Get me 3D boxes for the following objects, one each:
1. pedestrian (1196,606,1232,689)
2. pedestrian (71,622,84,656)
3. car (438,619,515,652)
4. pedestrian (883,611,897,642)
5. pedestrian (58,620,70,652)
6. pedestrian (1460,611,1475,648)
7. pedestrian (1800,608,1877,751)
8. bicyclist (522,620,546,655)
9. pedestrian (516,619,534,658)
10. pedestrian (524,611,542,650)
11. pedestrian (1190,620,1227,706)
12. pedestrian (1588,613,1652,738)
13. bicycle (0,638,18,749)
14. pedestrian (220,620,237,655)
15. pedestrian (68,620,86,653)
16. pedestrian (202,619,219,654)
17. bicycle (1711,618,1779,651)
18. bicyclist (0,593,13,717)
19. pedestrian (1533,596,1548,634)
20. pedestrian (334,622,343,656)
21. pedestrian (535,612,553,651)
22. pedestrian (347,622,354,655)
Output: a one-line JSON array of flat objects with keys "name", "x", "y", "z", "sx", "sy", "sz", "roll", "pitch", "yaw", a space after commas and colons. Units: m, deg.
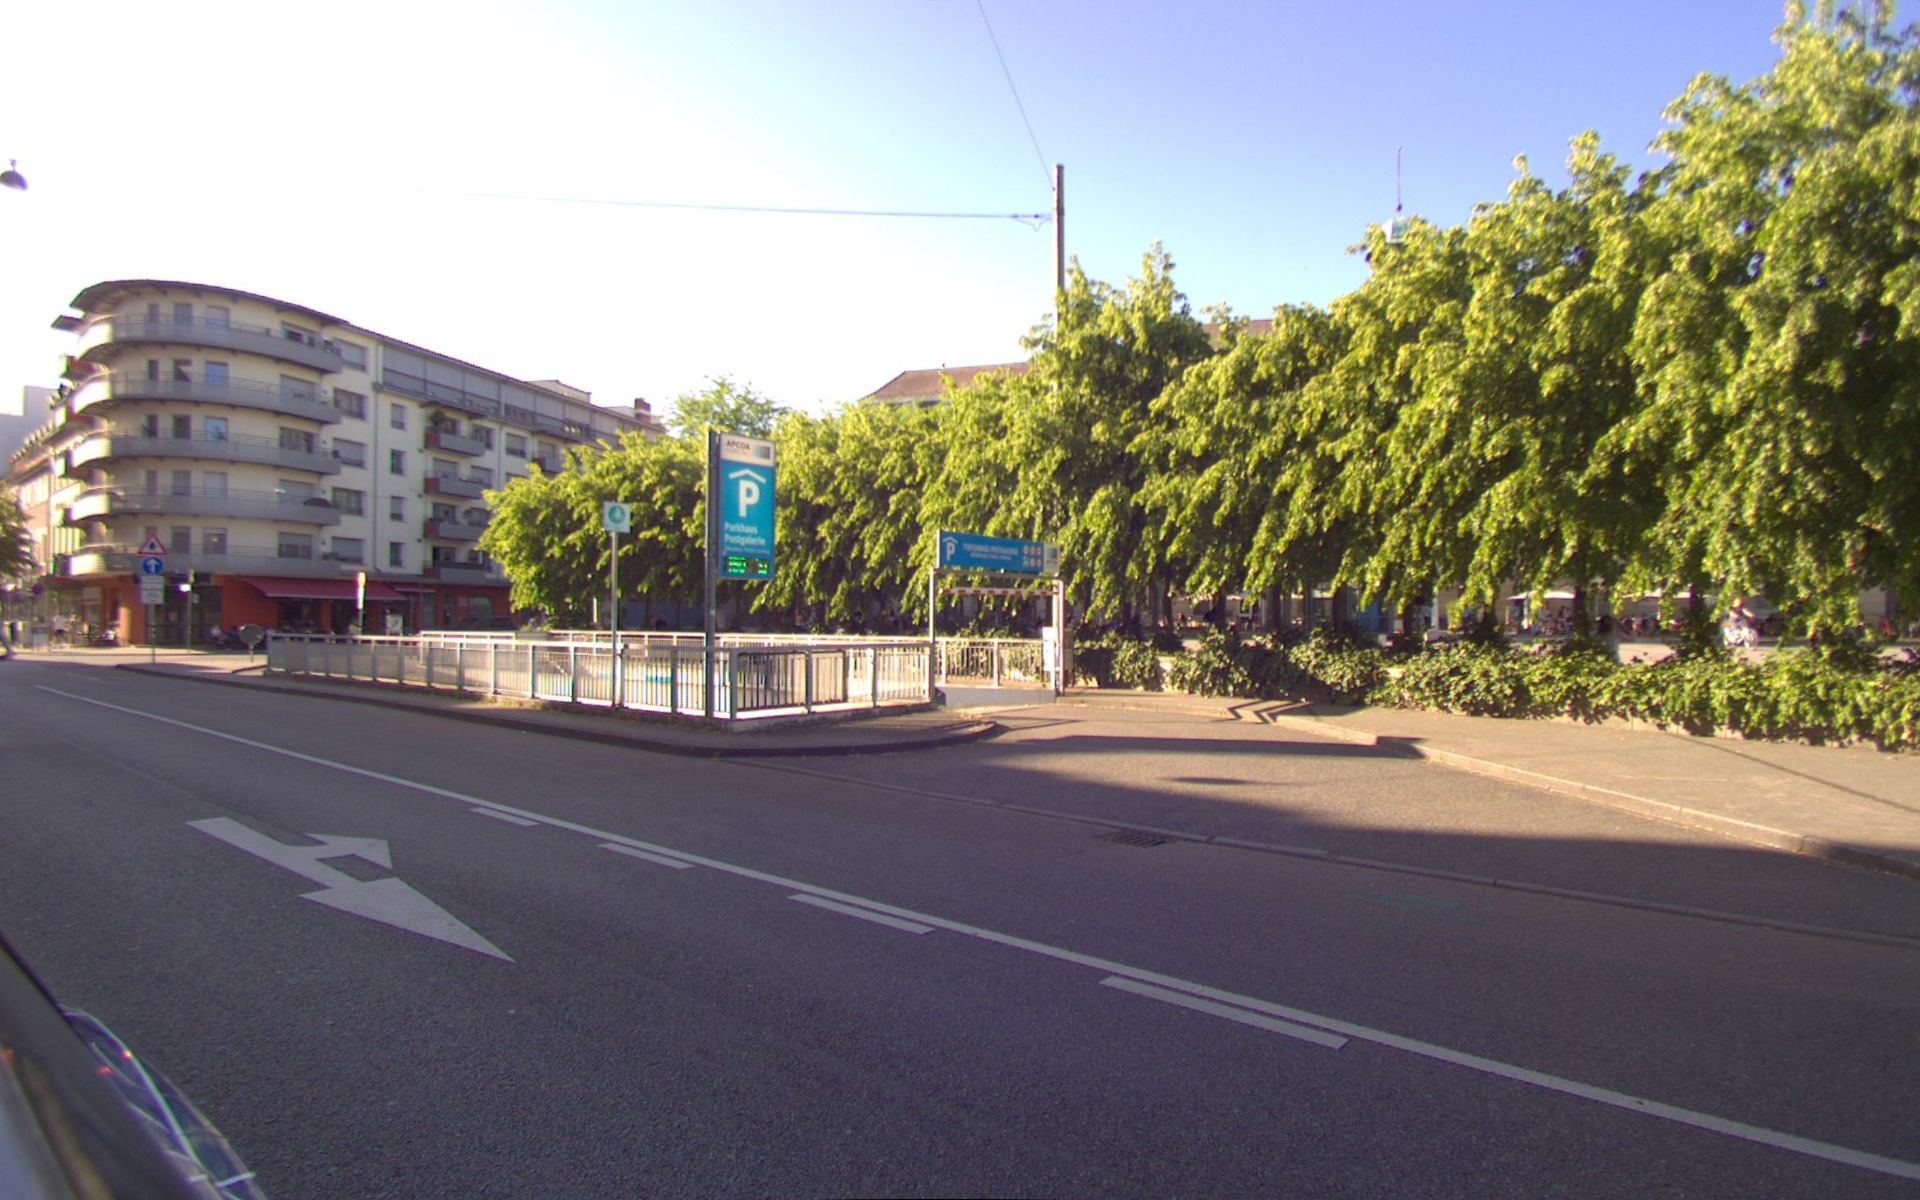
[{"name": "pedestrian", "x": 5.884, "y": 1.087, "z": 23.439, "sx": 0.674, "sy": 1.870, "sz": 0.577, "roll": -1, "pitch": -1, "yaw": 30}, {"name": "pedestrian", "x": -44.599, "y": 1.969, "z": 51.143, "sx": 0.515, "sy": 1.685, "sz": 0.437, "roll": -1, "pitch": -1, "yaw": 37}, {"name": "car", "x": -30.078, "y": 2.193, "z": 63.125, "sx": 1.938, "sy": 1.927, "sz": 4.403, "roll": -1, "pitch": -1, "yaw": 16}, {"name": "pedestrian", "x": -4.055, "y": 1.534, "z": 58.426, "sx": 0.578, "sy": 1.806, "sz": 0.597, "roll": -1, "pitch": 0, "yaw": 20}, {"name": "pedestrian", "x": -44.482, "y": 1.780, "z": 50.249, "sx": 0.515, "sy": 1.541, "sz": 0.371, "roll": -1, "pitch": -1, "yaw": 37}, {"name": "pedestrian", "x": 25.277, "y": 1.460, "z": 50.386, "sx": 0.599, "sy": 1.806, "sz": 0.576, "roll": -1, "pitch": -1, "yaw": 31}, {"name": "pedestrian", "x": 11.827, "y": 1.044, "z": 13.635, "sx": 0.597, "sy": 1.870, "sz": 0.578, "roll": -1, "pitch": 0, "yaw": 22}, {"name": "bicyclist", "x": -20.801, "y": 1.826, "z": 49.447, "sx": 0.960, "sy": 1.627, "sz": 0.715, "roll": 0, "pitch": 0, "yaw": -10}, {"name": "pedestrian", "x": -19.975, "y": 1.763, "z": 46.504, "sx": 0.574, "sy": 1.806, "sz": 0.602, "roll": -1, "pitch": 0, "yaw": -5}, {"name": "pedestrian", "x": -19.901, "y": 1.421, "z": 47.170, "sx": 0.574, "sy": 1.806, "sz": 0.602, "roll": -1, "pitch": 0, "yaw": -5}, {"name": "pedestrian", "x": 5.531, "y": 1.378, "z": 22.493, "sx": 0.600, "sy": 1.870, "sz": 0.575, "roll": -1, "pitch": -1, "yaw": 38}, {"name": "pedestrian", "x": 10.248, "y": 1.145, "z": 15.715, "sx": 0.732, "sy": 1.870, "sz": 0.574, "roll": -1, "pitch": -1, "yaw": 44}, {"name": "bicycle", "x": -11.725, "y": 1.080, "z": 11.892, "sx": 1.773, "sy": 1.242, "sz": 0.788, "roll": -1, "pitch": -1, "yaw": 41}, {"name": "pedestrian", "x": -36.610, "y": 1.890, "z": 50.661, "sx": 0.642, "sy": 1.721, "sz": 0.568, "roll": -2, "pitch": -2, "yaw": 43}, {"name": "pedestrian", "x": -44.152, "y": 1.825, "z": 50.601, "sx": 0.792, "sy": 1.634, "sz": 0.563, "roll": -1, "pitch": -1, "yaw": 37}, {"name": "pedestrian", "x": -37.421, "y": 1.804, "z": 50.506, "sx": 0.642, "sy": 1.721, "sz": 0.568, "roll": -2, "pitch": -2, "yaw": 43}, {"name": "bicycle", "x": 25.780, "y": 1.115, "z": 33.281, "sx": 0.496, "sy": 1.024, "sz": 2.061, "roll": -1, "pitch": 0, "yaw": -3}, {"name": "bicyclist", "x": -11.733, "y": 0.644, "z": 11.889, "sx": 1.007, "sy": 1.445, "sz": 0.788, "roll": -1, "pitch": -1, "yaw": 41}, {"name": "pedestrian", "x": 28.350, "y": 0.731, "z": 49.448, "sx": 0.598, "sy": 1.806, "sz": 0.577, "roll": -1, "pitch": -1, "yaw": 27}, {"name": "pedestrian", "x": -31.713, "y": 1.982, "z": 51.635, "sx": 0.318, "sy": 1.680, "sz": 0.362, "roll": 0, "pitch": -1, "yaw": -17}, {"name": "pedestrian", "x": -19.684, "y": 1.481, "z": 47.918, "sx": 0.574, "sy": 1.806, "sz": 0.601, "roll": -1, "pitch": 0, "yaw": 0}, {"name": "pedestrian", "x": -31.295, "y": 1.978, "z": 51.960, "sx": 0.266, "sy": 1.680, "sz": 0.362, "roll": 0, "pitch": -1, "yaw": -17}]
